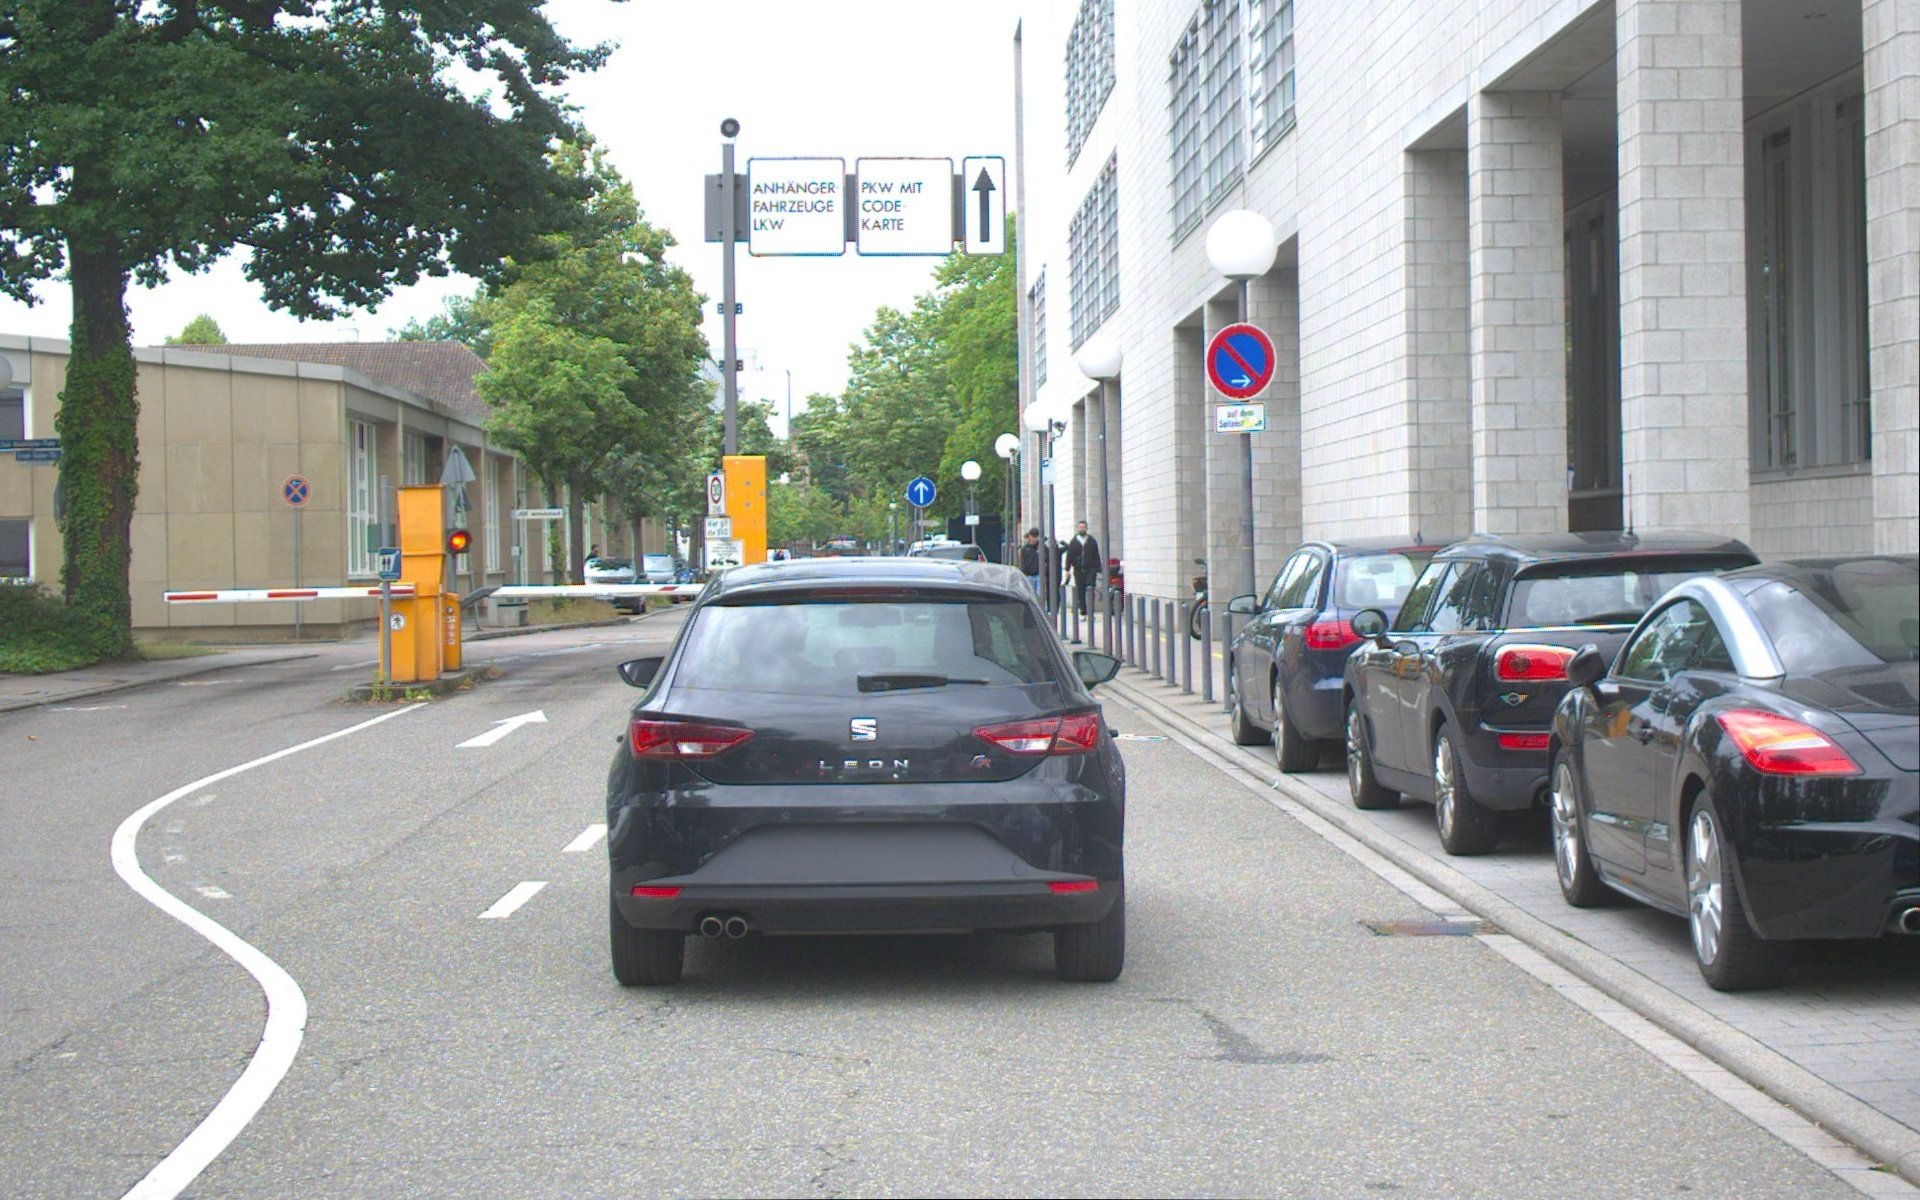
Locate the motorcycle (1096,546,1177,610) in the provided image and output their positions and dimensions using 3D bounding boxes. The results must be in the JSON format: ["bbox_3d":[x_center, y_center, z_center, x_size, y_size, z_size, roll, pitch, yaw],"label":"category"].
[{"bbox_3d":[3.550,-0.446,68.868,0.760,1.144,2.660,1,3,23],"label":"motorcycle"}]

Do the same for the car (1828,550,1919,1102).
[{"bbox_3d":[3.405,0.567,7.259,1.695,1.406,4.377,-2,1,-5],"label":"car"}]

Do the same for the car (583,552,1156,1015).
[{"bbox_3d":[-0.352,0.544,12.830,1.782,1.414,4.130,-1,1,-2],"label":"car"}]

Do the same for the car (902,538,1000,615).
[{"bbox_3d":[-0.236,-0.531,77.673,1.993,1.617,4.428,-2,0,-2],"label":"car"}]

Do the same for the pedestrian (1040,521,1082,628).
[{"bbox_3d":[1.639,-0.416,55.587,0.611,1.708,0.574,-2,1,3],"label":"pedestrian"}]

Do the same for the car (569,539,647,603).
[{"bbox_3d":[-9.154,-0.773,89.520,1.770,1.595,4.001,-1,1,-2],"label":"car"}]

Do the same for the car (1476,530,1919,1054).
[{"bbox_3d":[3.139,0.527,12.435,1.848,1.437,4.419,-1,2,0],"label":"car"}]

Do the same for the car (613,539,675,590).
[{"bbox_3d":[-10.306,-1.172,112.293,1.770,1.595,4.000,-1,1,-2],"label":"car"}]

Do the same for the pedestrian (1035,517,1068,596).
[{"bbox_3d":[1.989,-0.946,74.938,0.696,1.708,0.489,0,1,3],"label":"pedestrian"}]

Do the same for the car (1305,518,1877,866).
[{"bbox_3d":[2.997,0.363,17.322,1.817,1.438,4.521,-3,1,-2],"label":"car"}]

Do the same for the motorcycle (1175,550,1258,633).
[{"bbox_3d":[3.909,-0.141,52.283,0.566,1.144,2.214,1,3,23],"label":"motorcycle"}]

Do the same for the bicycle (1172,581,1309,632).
[{"bbox_3d":[4.006,0.096,49.110,1.896,0.696,0.493,0,3,-5],"label":"bicycle"}]

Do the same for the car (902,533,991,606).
[{"bbox_3d":[-0.353,-0.750,82.199,1.993,1.617,4.428,-3,1,-1],"label":"car"}]

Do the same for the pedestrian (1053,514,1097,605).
[{"bbox_3d":[2.162,-0.772,64.714,0.727,1.693,0.588,0,3,-6],"label":"pedestrian"}]

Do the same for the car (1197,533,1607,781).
[{"bbox_3d":[2.833,0.317,23.157,1.993,1.447,4.923,-1,1,-1],"label":"car"}]

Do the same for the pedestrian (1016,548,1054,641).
[{"bbox_3d":[1.385,-0.102,63.417,0.690,1.693,0.588,0,3,3],"label":"pedestrian"}]
